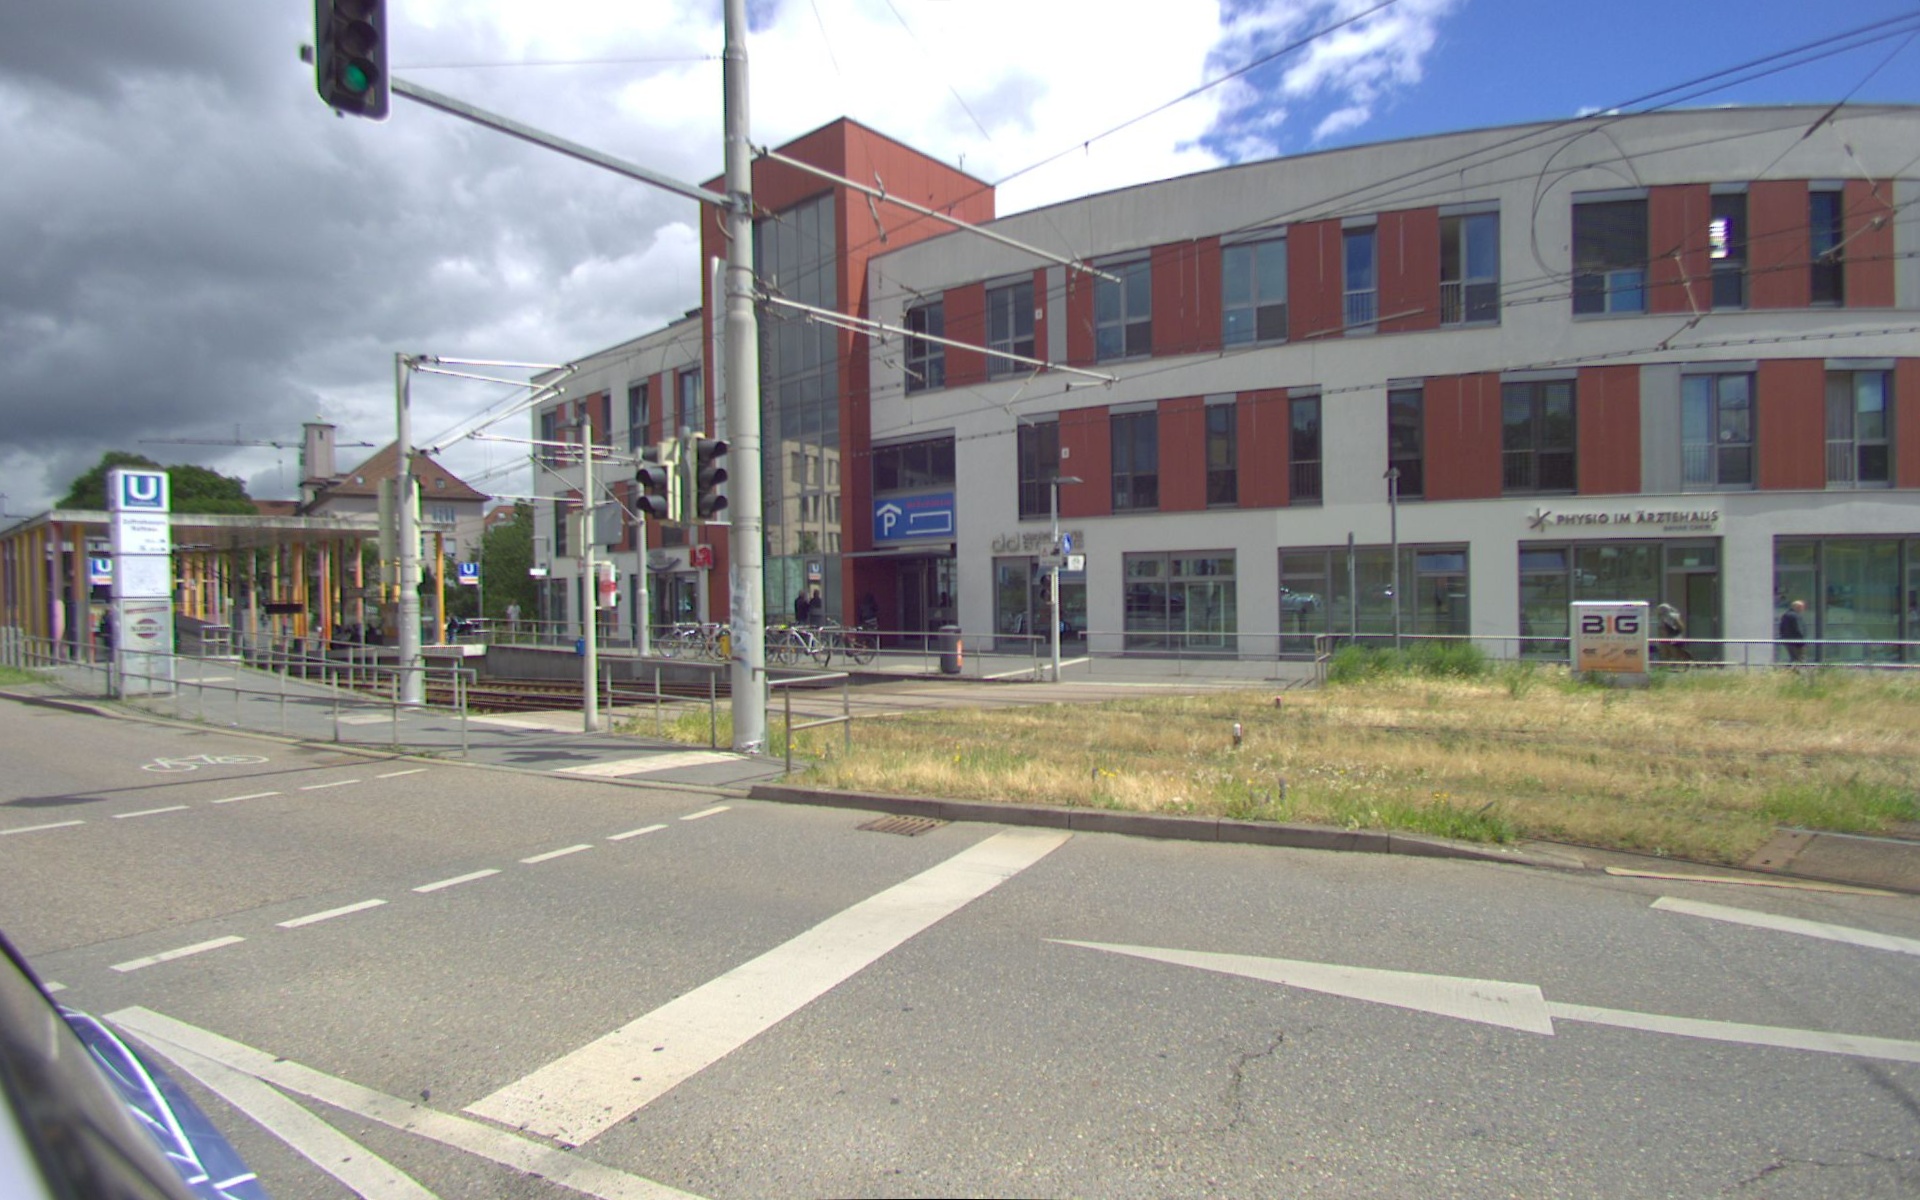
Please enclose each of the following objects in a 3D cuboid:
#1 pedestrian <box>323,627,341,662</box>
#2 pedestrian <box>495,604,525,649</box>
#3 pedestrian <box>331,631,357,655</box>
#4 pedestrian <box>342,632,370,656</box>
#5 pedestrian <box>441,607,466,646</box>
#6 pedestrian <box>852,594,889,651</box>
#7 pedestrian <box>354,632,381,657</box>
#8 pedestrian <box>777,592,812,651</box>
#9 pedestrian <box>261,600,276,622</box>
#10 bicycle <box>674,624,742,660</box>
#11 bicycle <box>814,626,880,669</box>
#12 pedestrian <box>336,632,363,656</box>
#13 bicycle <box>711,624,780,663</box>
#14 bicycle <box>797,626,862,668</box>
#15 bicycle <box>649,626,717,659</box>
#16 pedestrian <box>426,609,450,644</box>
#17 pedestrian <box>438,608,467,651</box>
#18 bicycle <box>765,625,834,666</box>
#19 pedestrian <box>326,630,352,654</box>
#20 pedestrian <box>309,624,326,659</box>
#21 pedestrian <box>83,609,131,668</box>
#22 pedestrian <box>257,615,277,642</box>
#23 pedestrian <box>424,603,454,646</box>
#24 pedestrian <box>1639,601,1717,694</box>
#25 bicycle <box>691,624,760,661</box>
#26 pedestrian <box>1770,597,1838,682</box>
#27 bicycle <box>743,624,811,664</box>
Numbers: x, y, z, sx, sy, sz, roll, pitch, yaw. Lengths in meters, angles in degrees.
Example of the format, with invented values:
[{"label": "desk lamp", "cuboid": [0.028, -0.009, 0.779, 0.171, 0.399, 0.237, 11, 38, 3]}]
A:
[{"label": "pedestrian", "cuboid": [-37.076, 2.635, 59.753, 0.761, 2.029, 0.616, -2, -1, 34]}, {"label": "pedestrian", "cuboid": [-20.195, 1.171, 45.394, 1.106, 1.983, 0.852, 0, -1, 43]}, {"label": "pedestrian", "cuboid": [-30.810, 2.145, 50.618, 0.886, 1.143, 0.931, -2, -1, 42]}, {"label": "pedestrian", "cuboid": [-29.403, 2.138, 49.265, 0.886, 1.143, 0.931, -2, -1, 42]}, {"label": "pedestrian", "cuboid": [-26.134, 1.369, 52.215, 0.852, 1.983, 1.107, 1, -1, -44]}, {"label": "pedestrian", "cuboid": [-2.736, 0.670, 30.912, 0.919, 1.711, 0.791, 1, -1, -22]}, {"label": "pedestrian", "cuboid": [-28.554, 2.139, 48.790, 0.886, 1.143, 0.931, -2, -1, 42]}, {"label": "pedestrian", "cuboid": [-5.316, 0.669, 32.480, 0.856, 1.859, 0.876, 0, 1, 13]}, {"label": "pedestrian", "cuboid": [-64.247, 1.002, 93.996, 1.108, 2.029, 1.664, 0, -1, -36]}, {"label": "bicycle", "cuboid": [-6.986, 1.159, 28.142, 1.835, 0.939, 0.455, 0, 0, -41]}, {"label": "bicycle", "cuboid": [-2.740, 1.142, 24.670, 0.428, 0.959, 1.716, -1, 0, 43]}, {"label": "pedestrian", "cuboid": [-30.120, 2.141, 49.900, 0.886, 1.143, 0.931, -2, -1, 42]}, {"label": "bicycle", "cuboid": [-5.701, 1.142, 26.983, 1.836, 0.946, 0.455, 0, 0, -45]}, {"label": "bicycle", "cuboid": [-3.228, 1.141, 25.074, 0.428, 0.965, 1.716, -1, 0, 43]}, {"label": "bicycle", "cuboid": [-7.879, 1.195, 28.830, 1.834, 0.888, 0.455, 0, 0, -41]}, {"label": "pedestrian", "cuboid": [-30.527, 1.538, 59.206, 1.104, 1.983, 0.853, 0, -1, 38]}, {"label": "pedestrian", "cuboid": [-23.788, 1.352, 47.435, 1.105, 1.983, 0.853, 0, -1, 39]}, {"label": "bicycle", "cuboid": [-4.059, 1.142, 25.700, 0.454, 0.942, 1.837, -1, 0, 43]}, {"label": "pedestrian", "cuboid": [-31.511, 2.126, 51.377, 0.886, 1.143, 0.931, -2, -1, 42]}, {"label": "pedestrian", "cuboid": [-37.595, 2.447, 59.205, 0.773, 2.029, 0.610, -2, -1, 34]}, {"label": "pedestrian", "cuboid": [-28.273, 1.265, 33.534, 0.864, 1.929, 1.090, 0, -1, 42]}, {"label": "pedestrian", "cuboid": [-51.656, 2.120, 75.430, 1.112, 2.029, 1.180, 0, -2, -44]}, {"label": "pedestrian", "cuboid": [-24.197, 1.122, 46.959, 1.105, 1.983, 0.853, 0, -1, 39]}, {"label": "pedestrian", "cuboid": [15.759, 1.023, 22.244, 1.104, 1.983, 0.862, 0, -1, 10]}, {"label": "bicycle", "cuboid": [-6.373, 1.155, 27.583, 1.835, 0.929, 0.455, 0, 0, -42]}, {"label": "pedestrian", "cuboid": [16.251, 0.757, 19.511, 0.684, 1.592, 0.733, -1, -1, 10]}, {"label": "bicycle", "cuboid": [-4.742, 1.131, 26.335, 0.454, 0.970, 1.837, -1, 0, 43]}]
